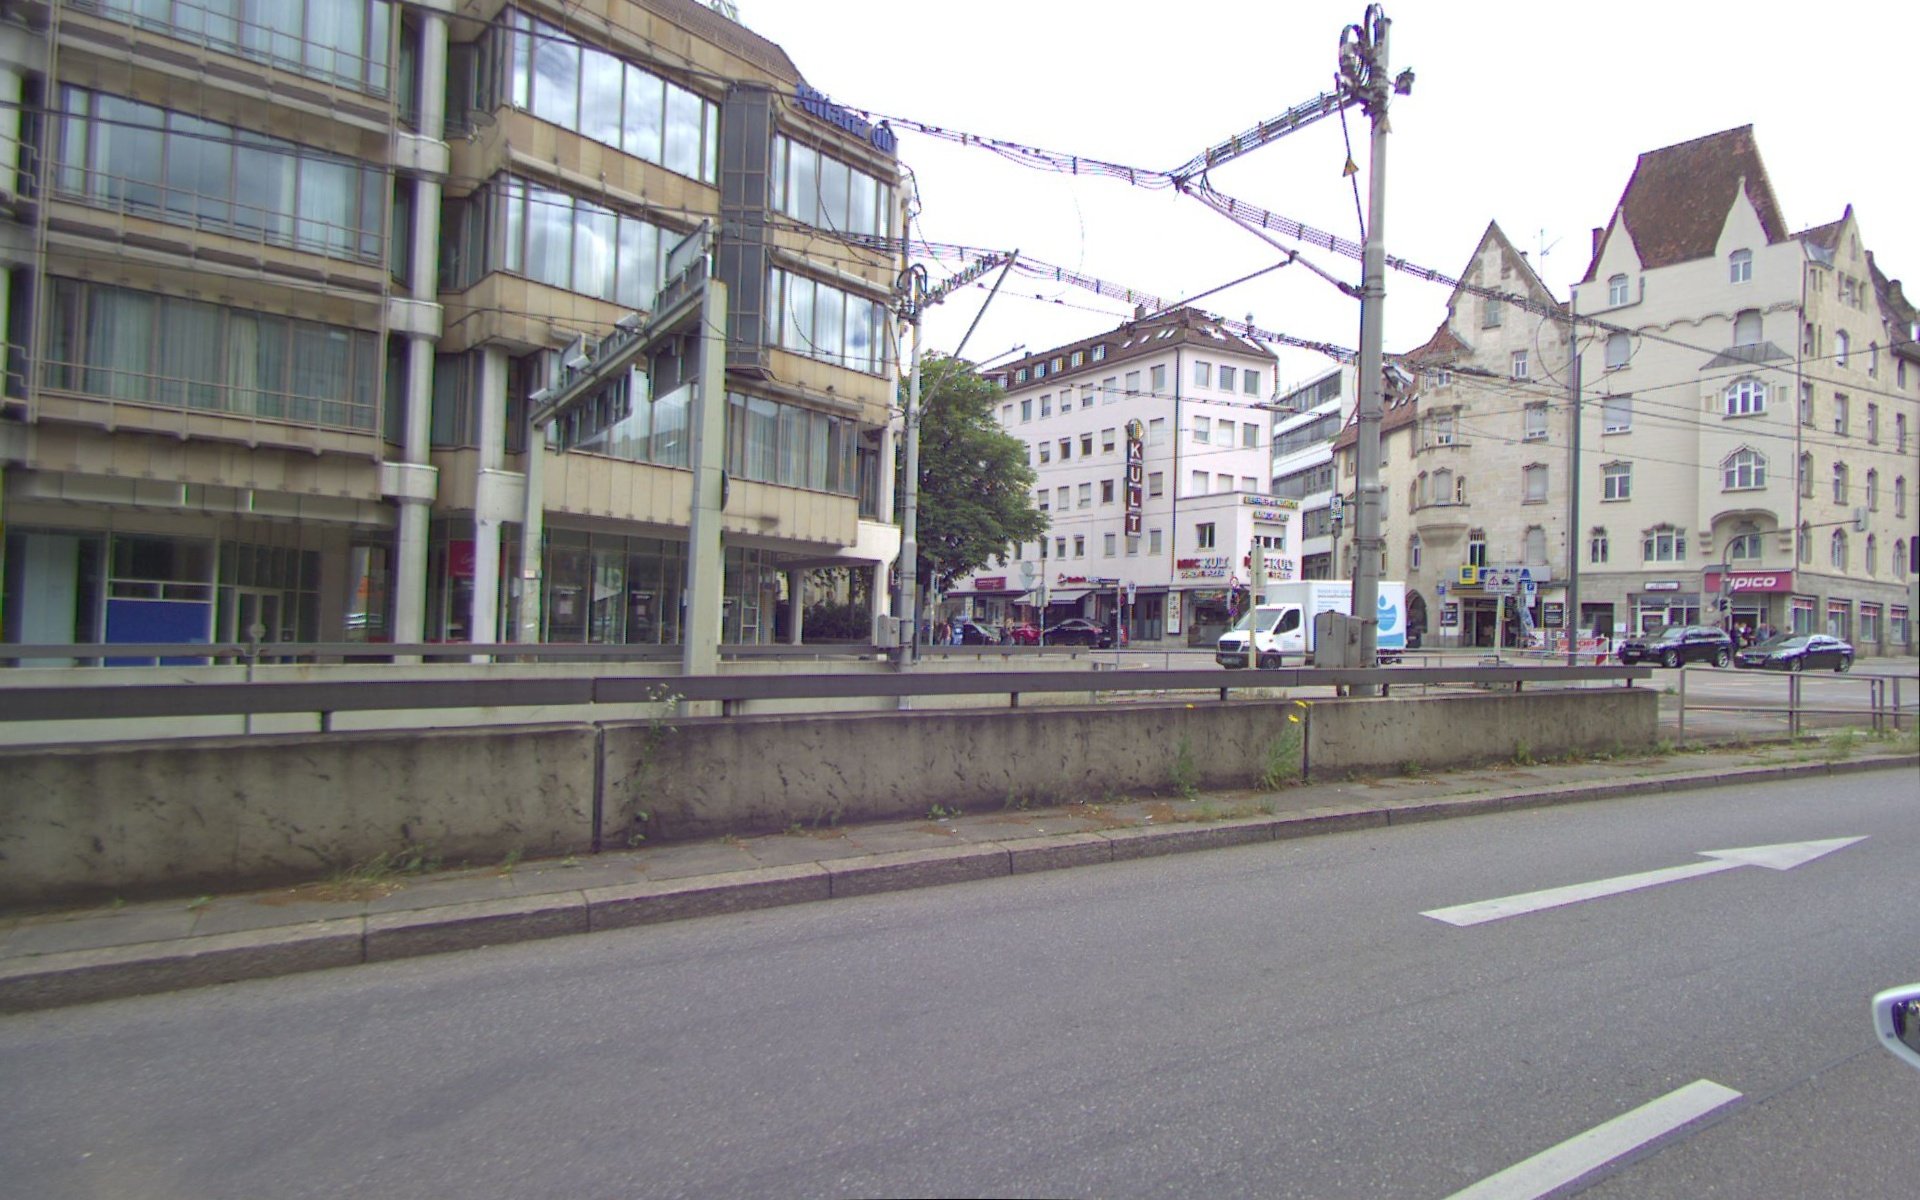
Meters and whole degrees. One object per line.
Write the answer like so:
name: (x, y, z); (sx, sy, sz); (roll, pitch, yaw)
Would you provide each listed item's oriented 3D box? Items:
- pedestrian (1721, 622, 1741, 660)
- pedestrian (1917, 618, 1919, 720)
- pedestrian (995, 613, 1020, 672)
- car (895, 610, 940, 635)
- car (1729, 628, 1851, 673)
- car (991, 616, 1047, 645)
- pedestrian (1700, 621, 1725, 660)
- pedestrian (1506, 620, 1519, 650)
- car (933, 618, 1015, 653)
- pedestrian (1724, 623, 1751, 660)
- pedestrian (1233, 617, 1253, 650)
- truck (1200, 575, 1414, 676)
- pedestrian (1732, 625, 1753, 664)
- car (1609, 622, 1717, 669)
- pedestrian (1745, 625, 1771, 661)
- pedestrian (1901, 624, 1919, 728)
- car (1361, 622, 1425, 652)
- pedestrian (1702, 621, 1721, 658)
pedestrian: (37.154, 1.984, 48.381); (0.565, 1.803, 0.512); (1, -1, 3)
pedestrian: (16.963, 1.192, 17.098); (0.763, 1.744, 0.788); (1, -1, -28)
pedestrian: (1.487, 1.330, 31.514); (0.569, 1.803, 0.508); (1, -1, -25)
car: (-3.070, 1.573, 71.757); (1.632, 1.734, 3.617); (1, -1, -33)
car: (31.095, 1.866, 37.628); (4.470, 1.573, 1.653); (1, -1, -23)
car: (3.647, 1.896, 62.456); (1.632, 1.734, 3.617); (1, -1, -33)
pedestrian: (35.562, 1.903, 47.483); (0.585, 1.803, 0.710); (1, -1, -11)
pedestrian: (33.565, 2.136, 61.003); (0.507, 1.803, 0.570); (1, -1, -41)
car: (0.675, 1.742, 50.116); (1.937, 1.550, 3.950); (2, 0, -42)
pedestrian: (37.463, 1.989, 48.376); (0.713, 1.728, 0.781); (1, -1, -22)
pedestrian: (15.038, 1.774, 53.405); (0.644, 1.728, 0.781); (1, -1, -22)
truck: (11.734, 0.886, 33.783); (7.275, 3.117, 2.260); (2, 0, -25)
pedestrian: (36.606, 2.057, 46.998); (0.567, 1.803, 0.510); (1, -1, -13)
car: (28.979, 1.876, 41.361); (4.722, 1.782, 1.667); (2, 0, -28)
pedestrian: (38.039, 2.056, 47.864); (0.678, 1.699, 0.674); (1, -1, -10)
pedestrian: (16.348, 1.274, 16.769); (0.629, 1.744, 0.761); (1, -1, -28)
car: (25.952, 2.232, 60.286); (1.609, 1.706, 3.775); (1, -3, -13)
pedestrian: (36.712, 1.925, 49.055); (0.565, 1.803, 0.512); (1, -1, 3)
